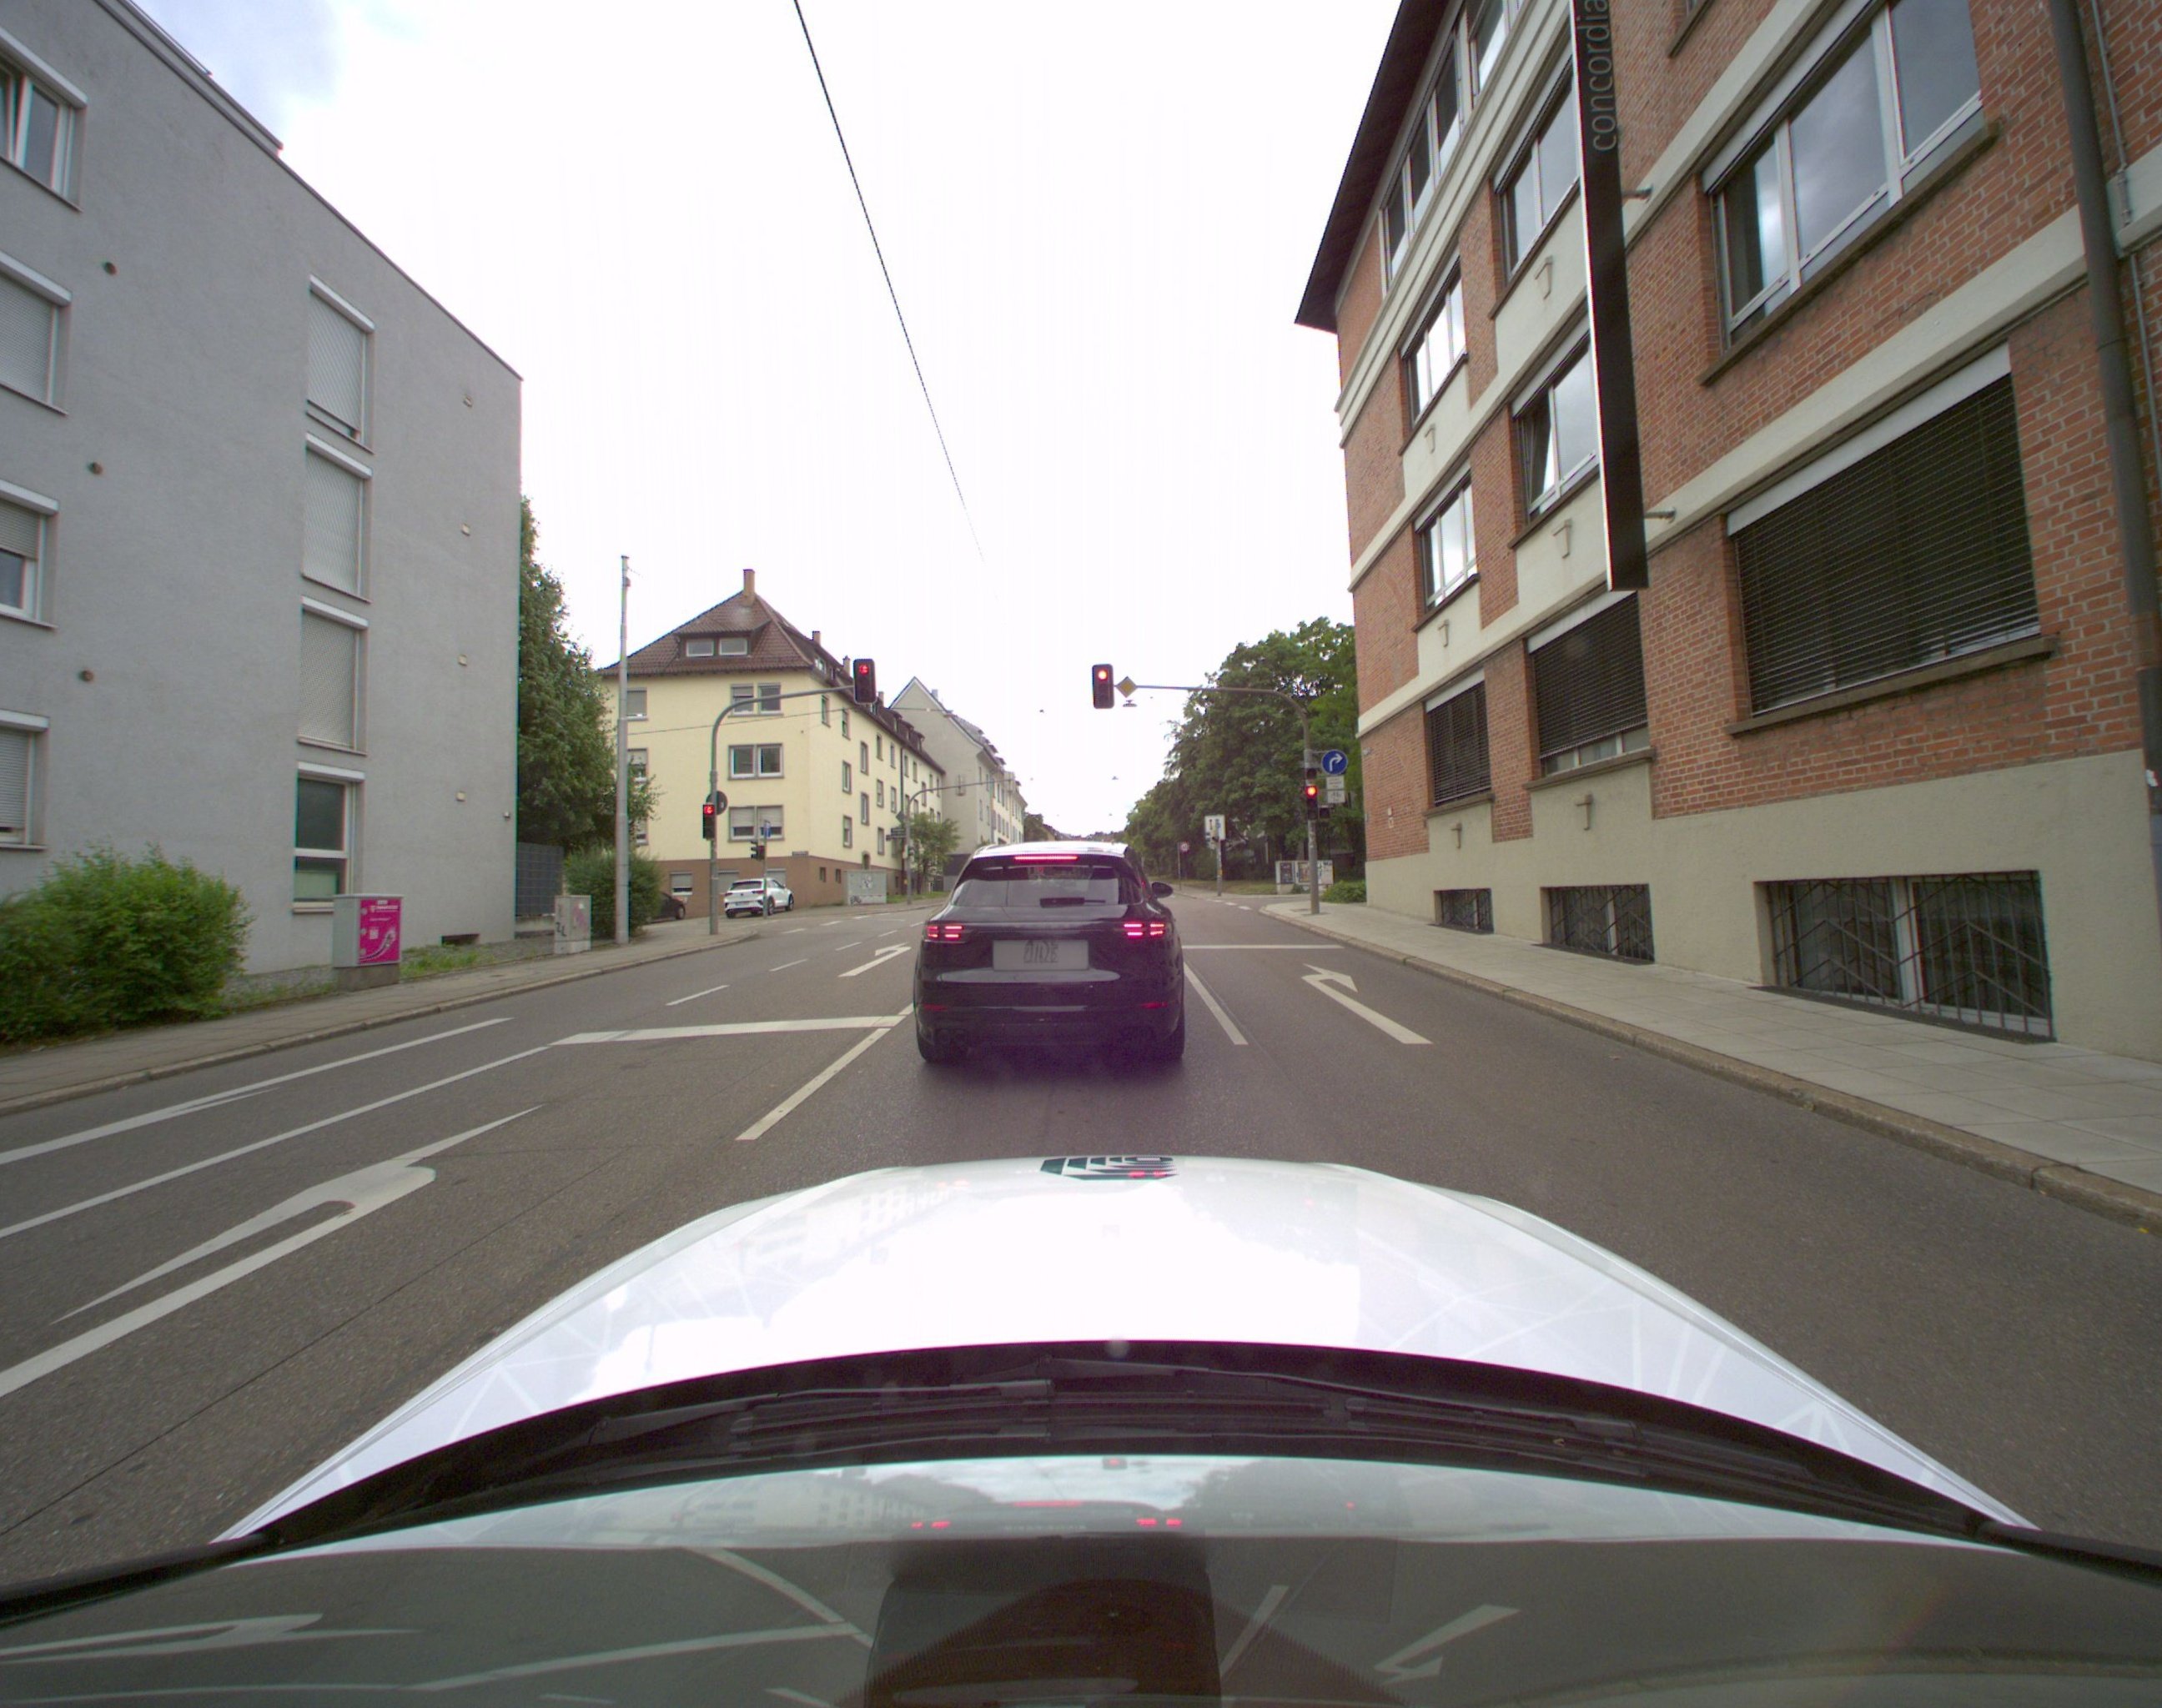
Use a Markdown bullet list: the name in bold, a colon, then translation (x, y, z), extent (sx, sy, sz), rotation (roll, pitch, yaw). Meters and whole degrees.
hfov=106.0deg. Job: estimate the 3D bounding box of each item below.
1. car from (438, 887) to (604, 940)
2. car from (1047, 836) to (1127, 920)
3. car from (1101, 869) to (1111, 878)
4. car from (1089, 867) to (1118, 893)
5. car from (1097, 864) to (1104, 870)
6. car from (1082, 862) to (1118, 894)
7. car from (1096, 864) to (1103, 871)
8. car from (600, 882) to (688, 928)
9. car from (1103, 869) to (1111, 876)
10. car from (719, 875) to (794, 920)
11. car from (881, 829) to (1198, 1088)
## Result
- **car**: translation (-17.796, 1.860, 25.995), extent (4.042, 1.392, 1.696), rotation (-2, -1, -1)
- **car**: translation (0.227, 0.594, 22.034), extent (1.957, 2.042, 4.137), rotation (0, 0, 2)
- **car**: translation (5.033, 3.909, 163.377), extent (1.820, 1.605, 4.137), rotation (0, 0, 2)
- **car**: translation (1.467, 1.648, 52.650), extent (1.820, 1.605, 3.860), rotation (0, 0, 2)
- **car**: translation (5.080, 3.287, 210.387), extent (1.820, 1.605, 4.137), rotation (0, 0, 2)
- **car**: translation (1.053, 1.268, 43.942), extent (1.820, 1.605, 4.137), rotation (0, 0, 2)
- **car**: translation (4.661, 3.312, 203.066), extent (1.820, 1.605, 4.137), rotation (0, 0, 2)
- **car**: translation (-18.498, 2.130, 34.652), extent (1.686, 1.608, 3.763), rotation (-4, 0, -2)
- **car**: translation (5.870, 4.144, 182.543), extent (1.820, 1.605, 4.137), rotation (0, 0, 2)
- **car**: translation (-13.533, 1.767, 34.188), extent (1.686, 1.555, 3.763), rotation (-4, 0, -2)
- **car**: translation (-0.193, 0.677, 7.383), extent (2.040, 1.666, 4.269), rotation (0, 0, 2)
